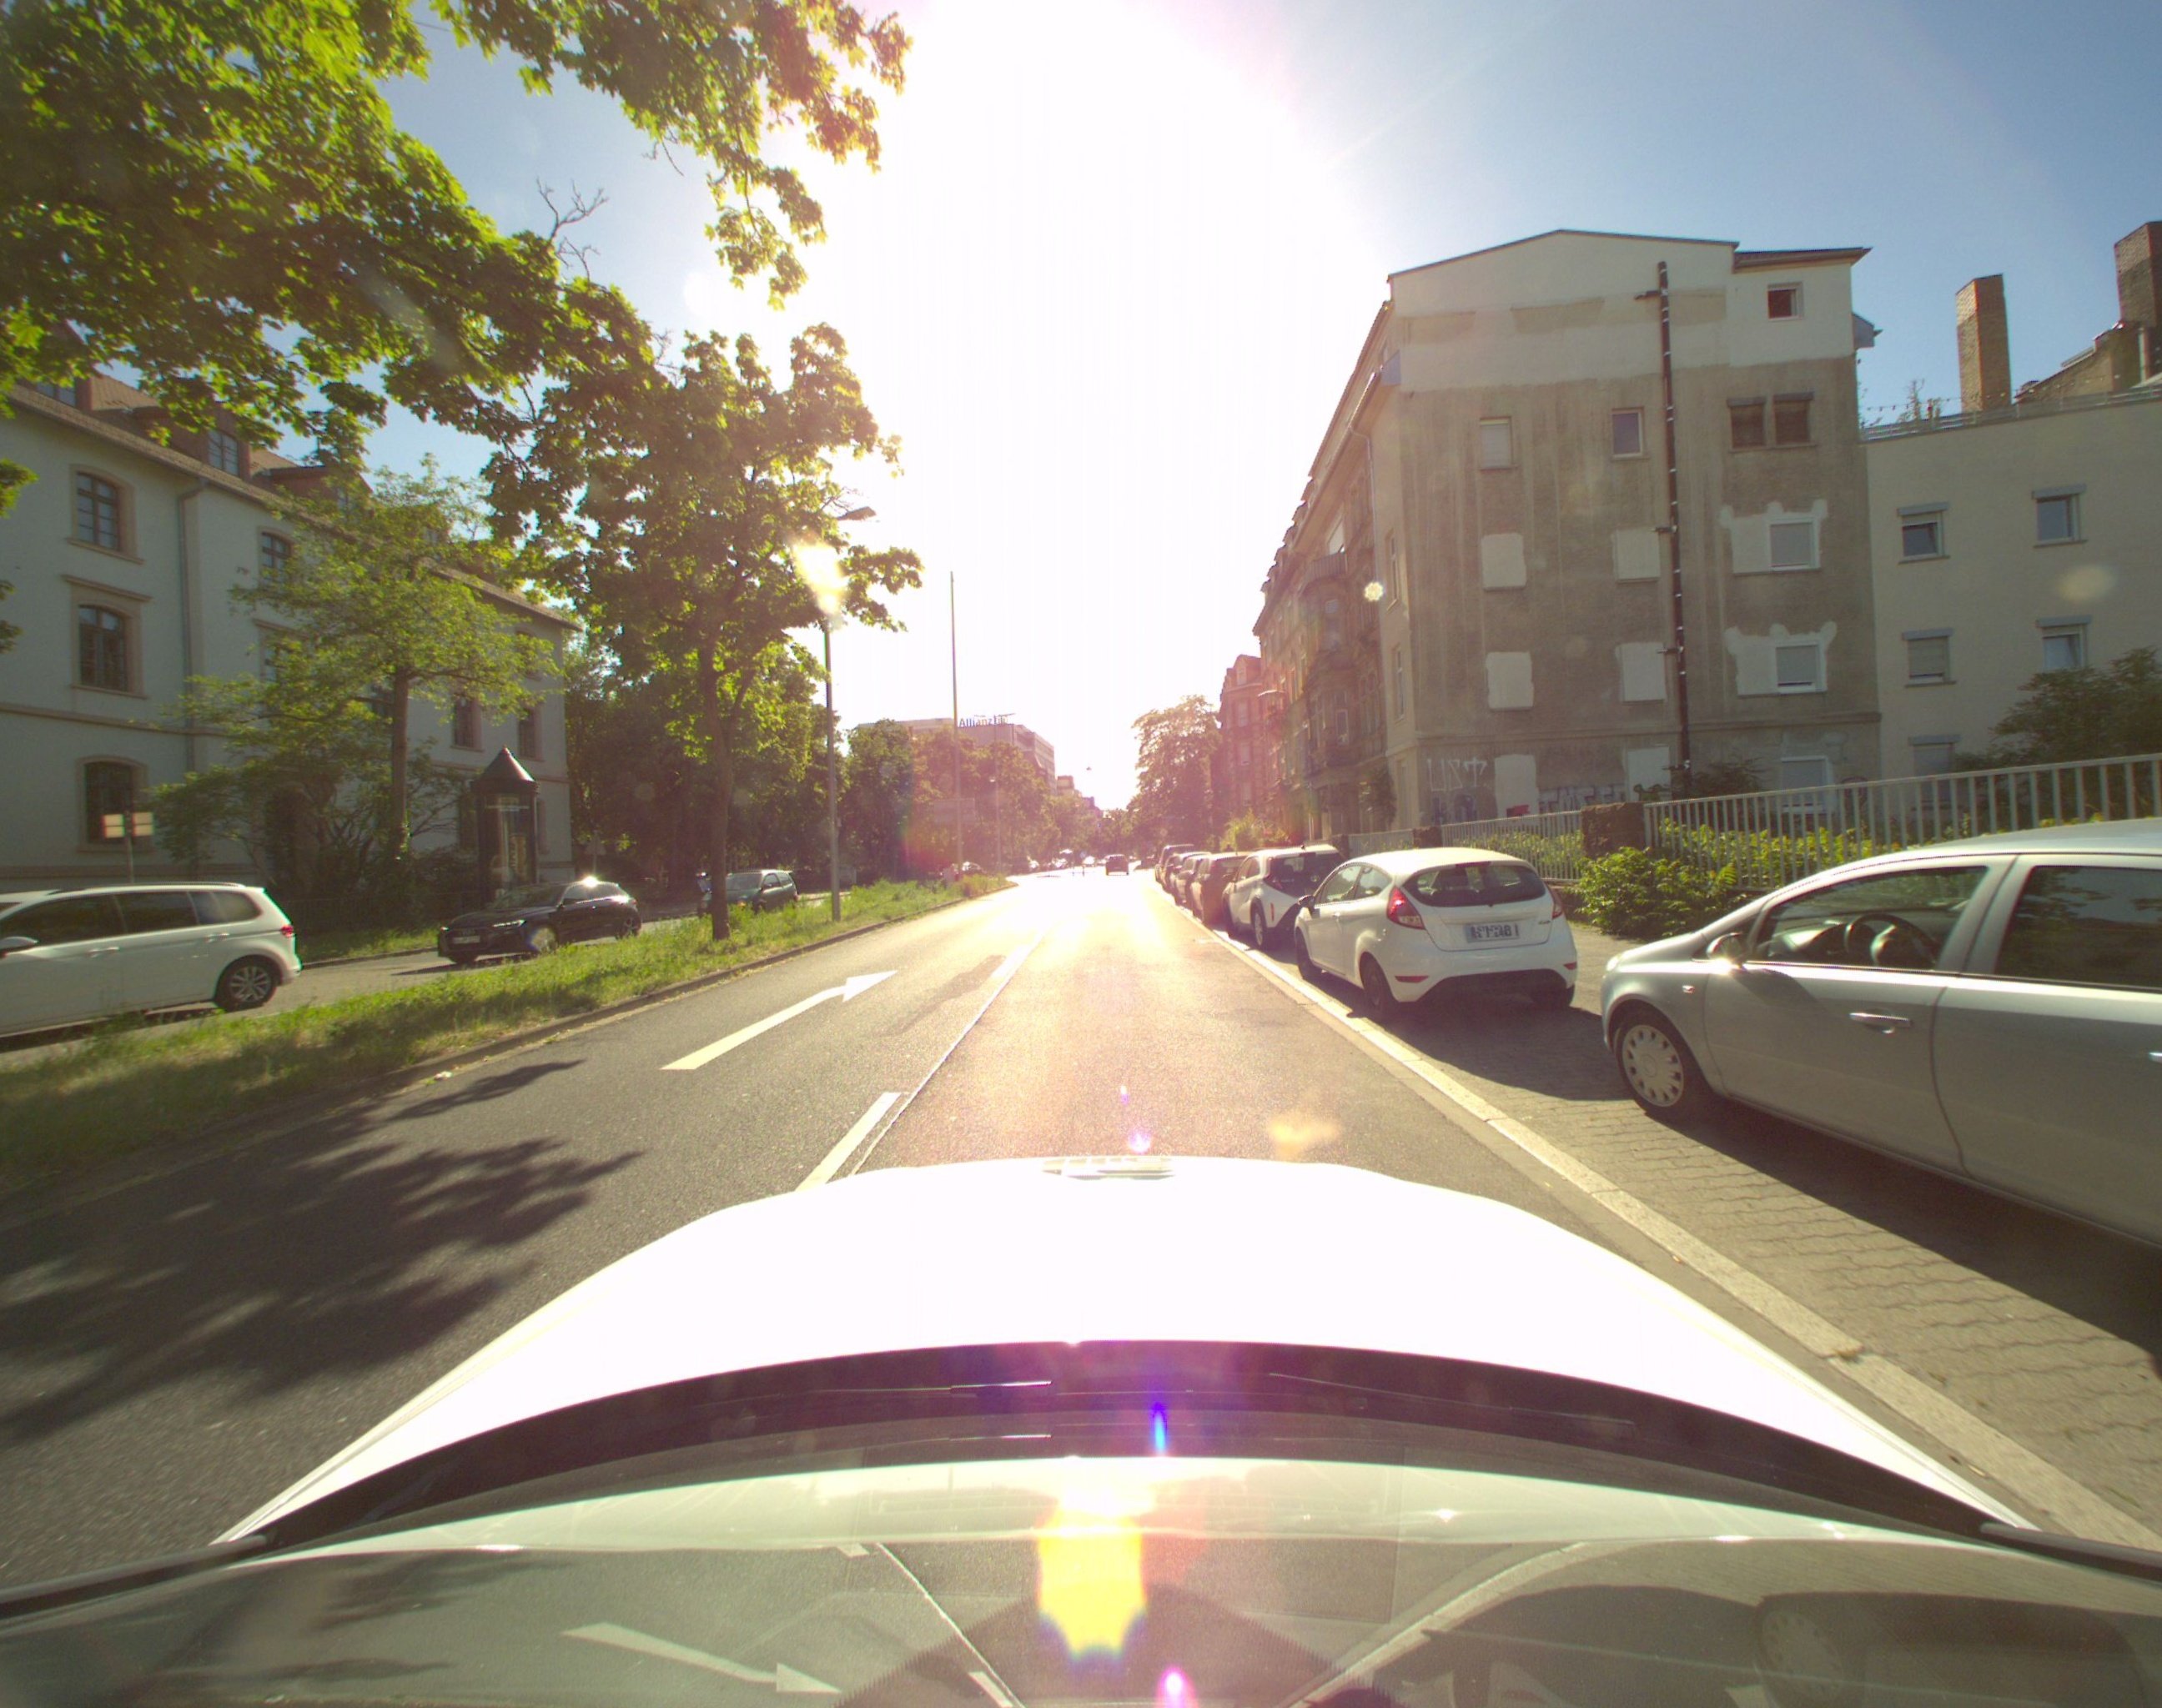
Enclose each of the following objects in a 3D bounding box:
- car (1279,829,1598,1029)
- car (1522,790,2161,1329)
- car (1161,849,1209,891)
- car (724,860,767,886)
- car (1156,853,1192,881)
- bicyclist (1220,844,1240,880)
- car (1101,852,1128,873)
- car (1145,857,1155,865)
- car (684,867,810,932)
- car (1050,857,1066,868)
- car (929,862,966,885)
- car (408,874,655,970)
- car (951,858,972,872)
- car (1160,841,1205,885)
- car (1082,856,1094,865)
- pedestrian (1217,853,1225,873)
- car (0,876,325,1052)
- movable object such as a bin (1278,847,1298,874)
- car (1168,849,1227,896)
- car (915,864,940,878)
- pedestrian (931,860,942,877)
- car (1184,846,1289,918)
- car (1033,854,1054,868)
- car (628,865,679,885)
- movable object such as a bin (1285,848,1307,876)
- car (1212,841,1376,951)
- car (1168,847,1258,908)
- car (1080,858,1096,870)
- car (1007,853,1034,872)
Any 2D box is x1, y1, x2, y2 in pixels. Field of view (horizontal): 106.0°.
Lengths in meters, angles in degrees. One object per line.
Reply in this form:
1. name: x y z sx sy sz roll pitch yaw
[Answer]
1. car: 3.313 0.595 8.364 1.603 1.446 3.659 -6 0 1
2. car: 3.803 0.541 3.309 1.664 1.460 3.983 -6 0 -2
3. car: 4.103 0.594 32.585 1.660 1.468 4.279 -3 0 4
4. car: -32.023 1.844 77.895 1.838 2.324 4.987 -1 -4 3
5. car: 4.886 0.643 43.264 1.702 1.425 4.209 -1 0 3
6. bicyclist: 6.699 0.358 36.734 0.738 1.580 1.101 -1 1 4
7. car: 2.519 0.621 61.906 1.889 1.519 3.998 0 0 -1
8. car: 14.942 1.498 176.445 1.909 1.640 4.009 -3 0 8
9. car: -9.179 1.177 22.781 1.632 1.519 4.259 -3 0 1
10. car: -3.123 1.210 112.743 1.514 1.432 3.346 -3 0 10
11. car: -9.412 1.351 57.839 1.789 1.519 4.424 -1 0 1
12. car: -10.658 1.234 16.234 1.787 1.519 4.093 -4 -1 6
13. car: -15.336 1.361 104.631 1.981 1.662 3.975 -3 0 -18
14. car: 4.665 0.395 37.870 1.811 1.844 4.369 -3 0 4
15. car: 1.220 1.084 145.688 1.794 1.504 3.812 -3 0 4
16. pedestrian: 12.629 0.819 73.424 0.652 1.816 0.753 -2 -3 7
17. car: -11.324 1.155 8.759 1.892 1.626 4.541 -3 0 3
18. movable object such as a bin: 9.129 0.306 35.953 0.719 1.157 0.609 -1 -3 3
19. car: 4.046 0.616 28.652 1.615 1.470 3.300 3 0 2
20. car: -19.257 2.138 102.055 1.987 1.662 3.962 -3 0 -29
21. pedestrian: -14.062 1.429 79.364 0.662 1.626 0.720 -3 -1 35
22. car: 3.436 0.573 18.635 1.662 1.393 3.775 -3 0 1
23. car: -4.721 0.881 102.584 1.748 1.519 3.870 -3 0 10
24. car: -34.361 1.704 65.528 1.838 1.491 4.002 -1 -3 3
25. movable object such as a bin: 9.306 0.353 35.255 0.755 1.157 0.609 -1 -3 3
26. car: 3.396 0.608 13.674 1.663 1.519 3.659 -3 0 -1
27. car: 3.731 0.626 23.794 1.928 1.519 4.484 -3 0 1
28. car: 1.092 1.509 121.430 1.748 1.519 3.870 -4 0 10
29. car: -6.790 0.965 91.635 2.188 1.929 4.868 -3 0 5
